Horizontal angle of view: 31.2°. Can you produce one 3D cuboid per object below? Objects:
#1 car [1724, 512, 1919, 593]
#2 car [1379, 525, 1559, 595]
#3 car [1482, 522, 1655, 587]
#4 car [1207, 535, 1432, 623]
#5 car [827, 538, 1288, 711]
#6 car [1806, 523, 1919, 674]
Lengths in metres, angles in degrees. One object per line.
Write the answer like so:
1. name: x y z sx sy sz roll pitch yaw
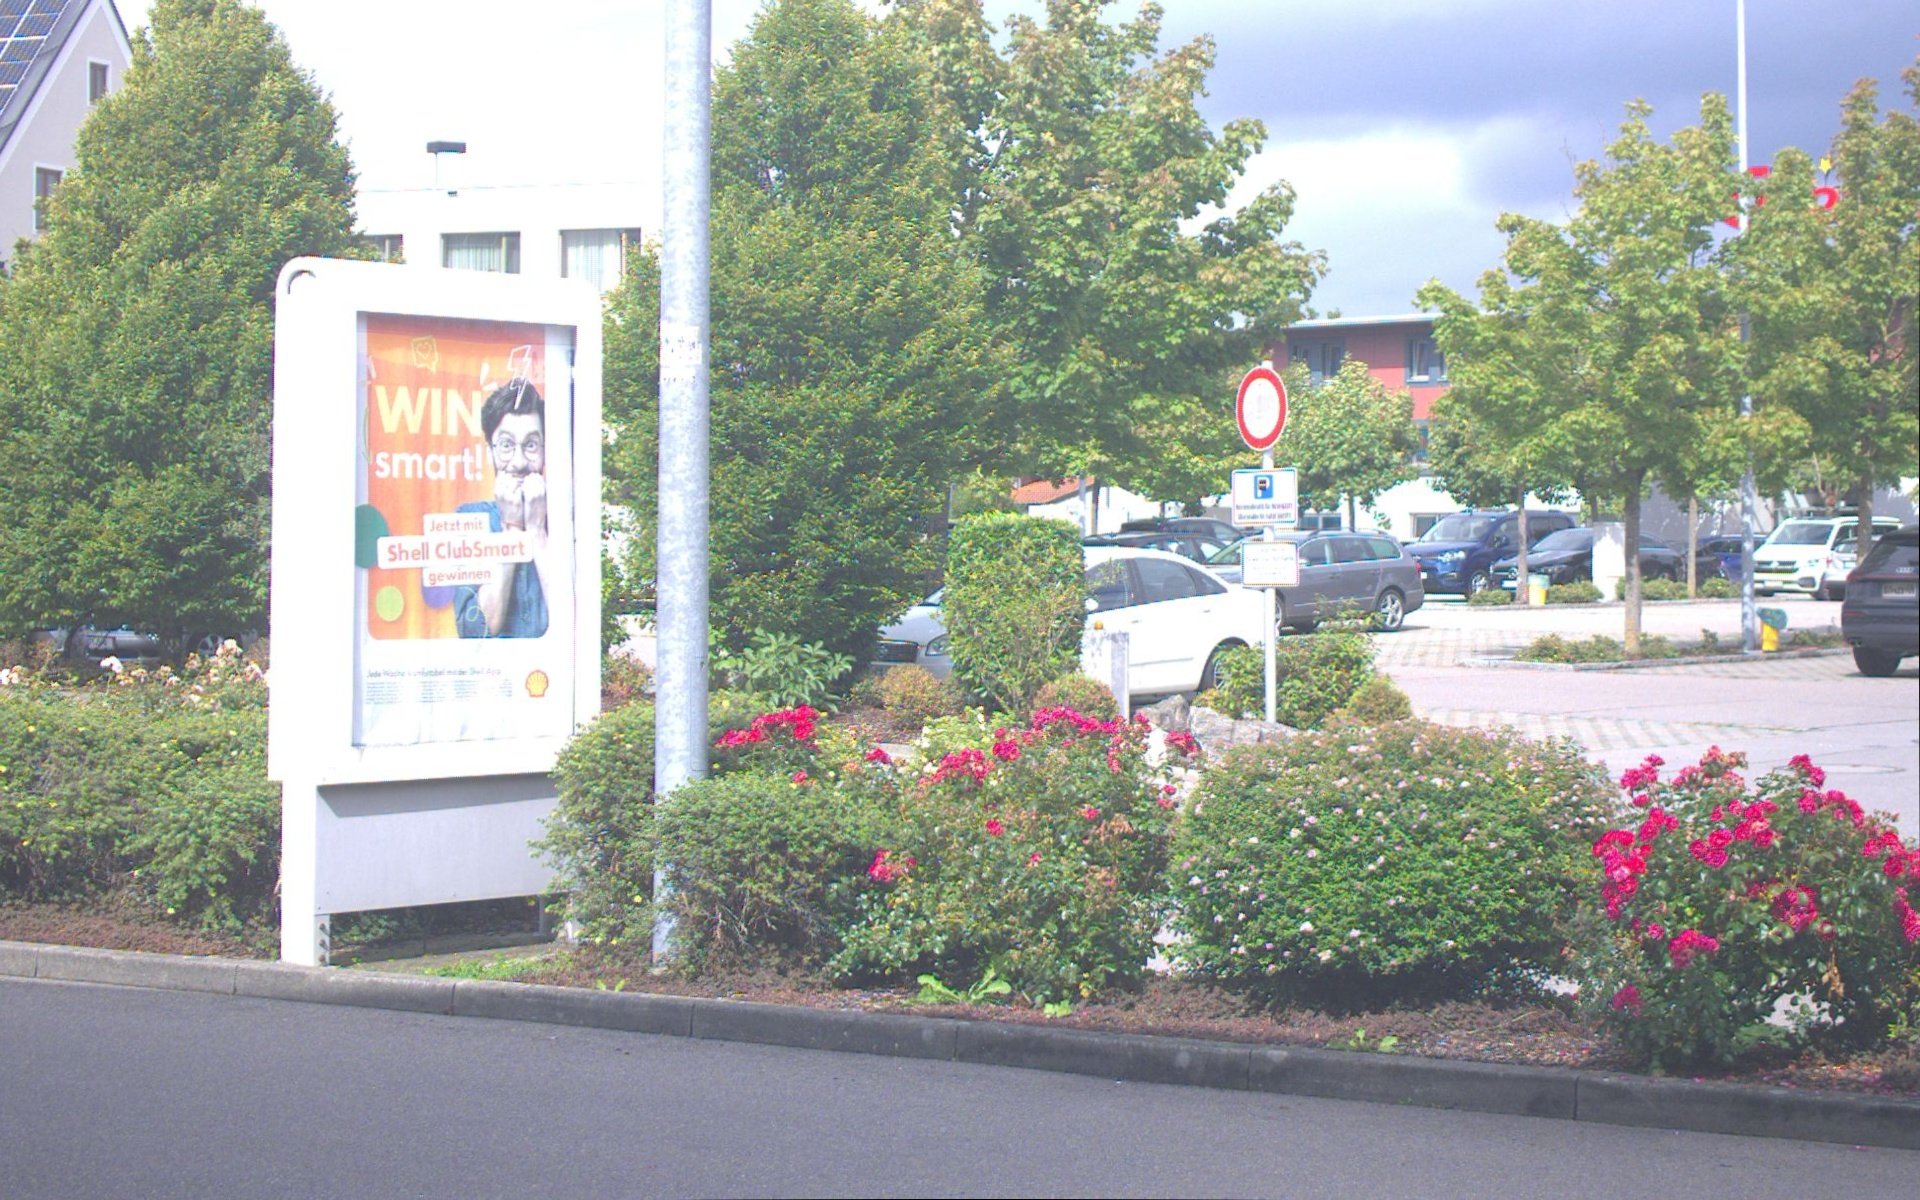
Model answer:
1. car: 20.268 -1.096 80.687 4.864 1.827 2.184 0 1 -43
2. car: 9.905 -0.767 66.830 3.379 1.316 1.747 0 1 -44
3. car: 11.533 -0.848 65.082 3.409 1.174 1.485 0 1 -44
4. car: 5.218 -0.298 49.764 3.218 1.224 1.505 0 1 -44
5. car: 0.917 0.196 29.975 4.332 1.399 1.370 0 1 -44
6. car: 11.147 -0.014 36.777 4.491 1.543 1.885 0 1 -43
